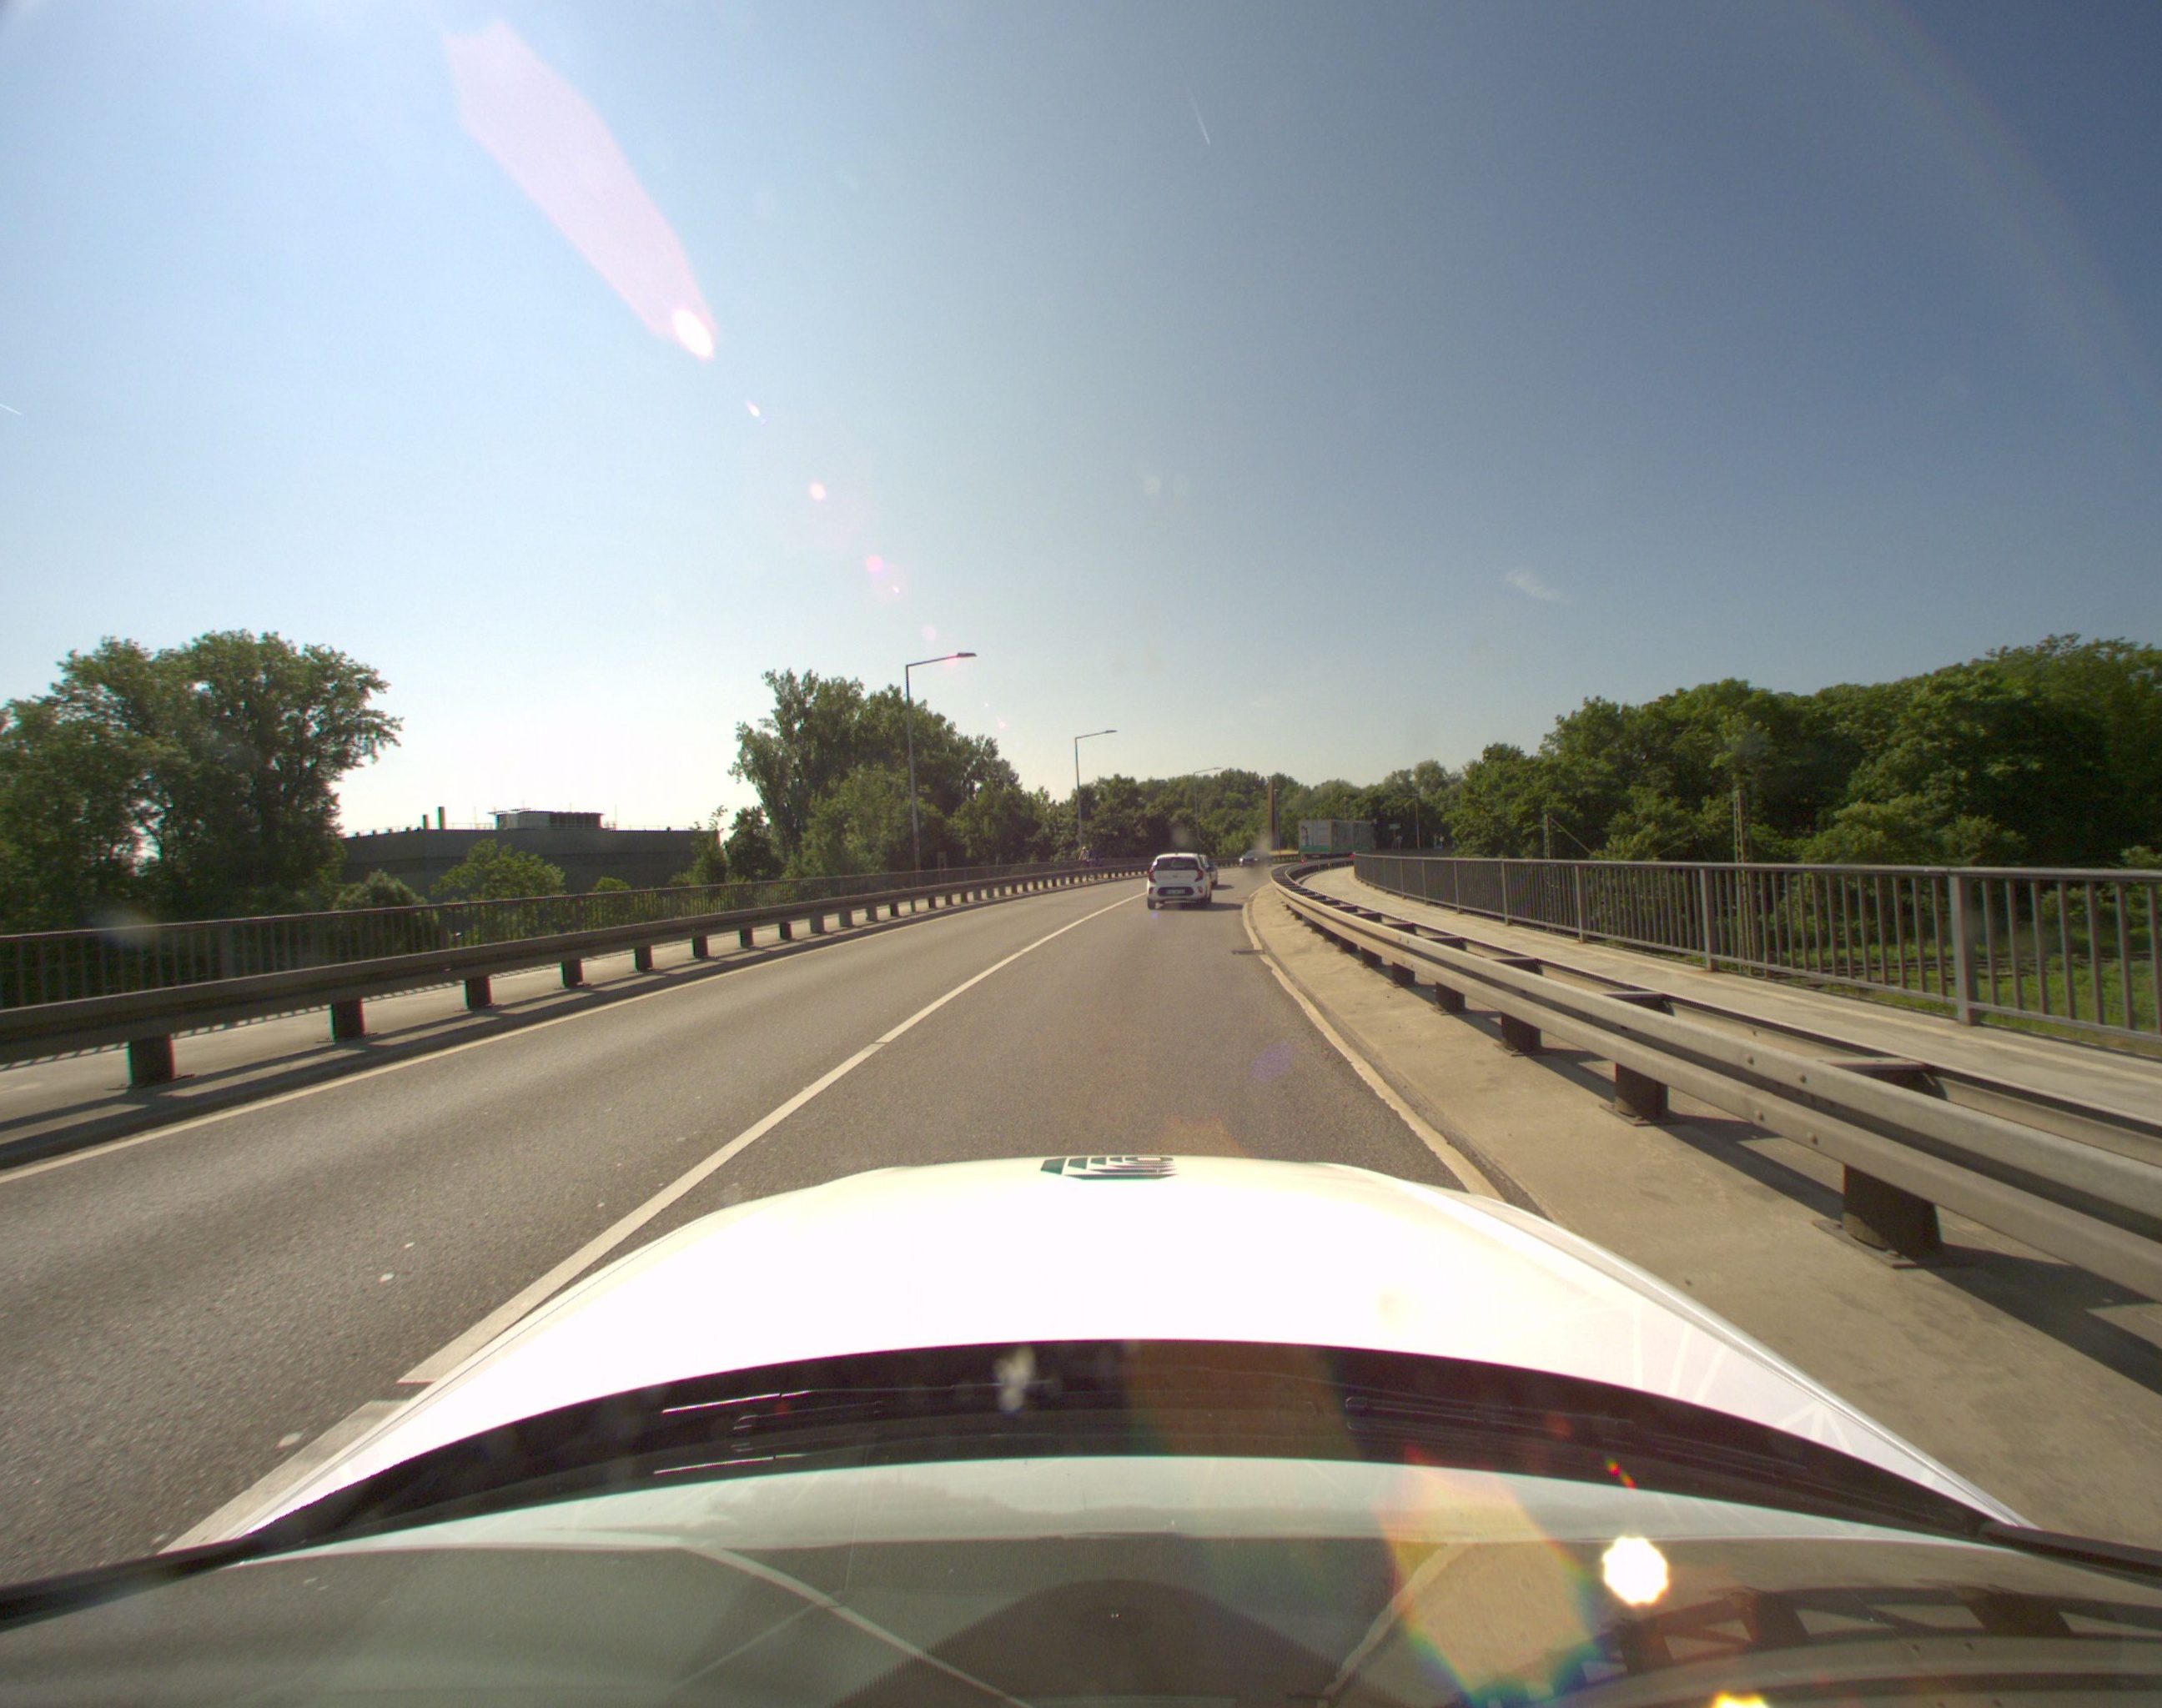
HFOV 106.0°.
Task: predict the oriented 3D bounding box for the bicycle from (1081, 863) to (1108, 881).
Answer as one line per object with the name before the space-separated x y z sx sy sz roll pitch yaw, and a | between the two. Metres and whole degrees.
bicycle | 0.746 0.993 44.949 0.921 0.891 1.976 -1 1 17

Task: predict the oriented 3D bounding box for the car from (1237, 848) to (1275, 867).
car | 14.786 0.241 68.710 1.801 1.430 4.894 -2 0 28

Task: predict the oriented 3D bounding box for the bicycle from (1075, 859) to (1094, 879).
bicycle | 0.229 0.832 46.947 0.569 1.046 1.717 -4 0 17

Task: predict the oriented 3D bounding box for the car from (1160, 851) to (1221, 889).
car | 4.778 0.622 34.873 1.924 1.486 4.920 -1 0 15

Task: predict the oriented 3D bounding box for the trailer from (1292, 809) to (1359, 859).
trailer | 19.784 -1.613 65.581 3.193 3.758 7.874 1 1 31

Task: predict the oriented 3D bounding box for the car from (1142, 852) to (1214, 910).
car | 2.870 0.731 23.336 1.690 1.494 4.013 0 -1 12

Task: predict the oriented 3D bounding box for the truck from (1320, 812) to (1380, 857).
truck | 24.057 -1.749 72.539 3.229 3.758 8.424 1 1 31

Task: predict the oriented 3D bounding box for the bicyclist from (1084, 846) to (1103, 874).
bicyclist | 0.694 0.328 44.906 0.655 1.496 1.021 -1 2 20

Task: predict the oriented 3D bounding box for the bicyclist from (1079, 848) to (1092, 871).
bicyclist | 0.249 0.319 47.013 0.484 1.329 0.950 -1 -1 16
